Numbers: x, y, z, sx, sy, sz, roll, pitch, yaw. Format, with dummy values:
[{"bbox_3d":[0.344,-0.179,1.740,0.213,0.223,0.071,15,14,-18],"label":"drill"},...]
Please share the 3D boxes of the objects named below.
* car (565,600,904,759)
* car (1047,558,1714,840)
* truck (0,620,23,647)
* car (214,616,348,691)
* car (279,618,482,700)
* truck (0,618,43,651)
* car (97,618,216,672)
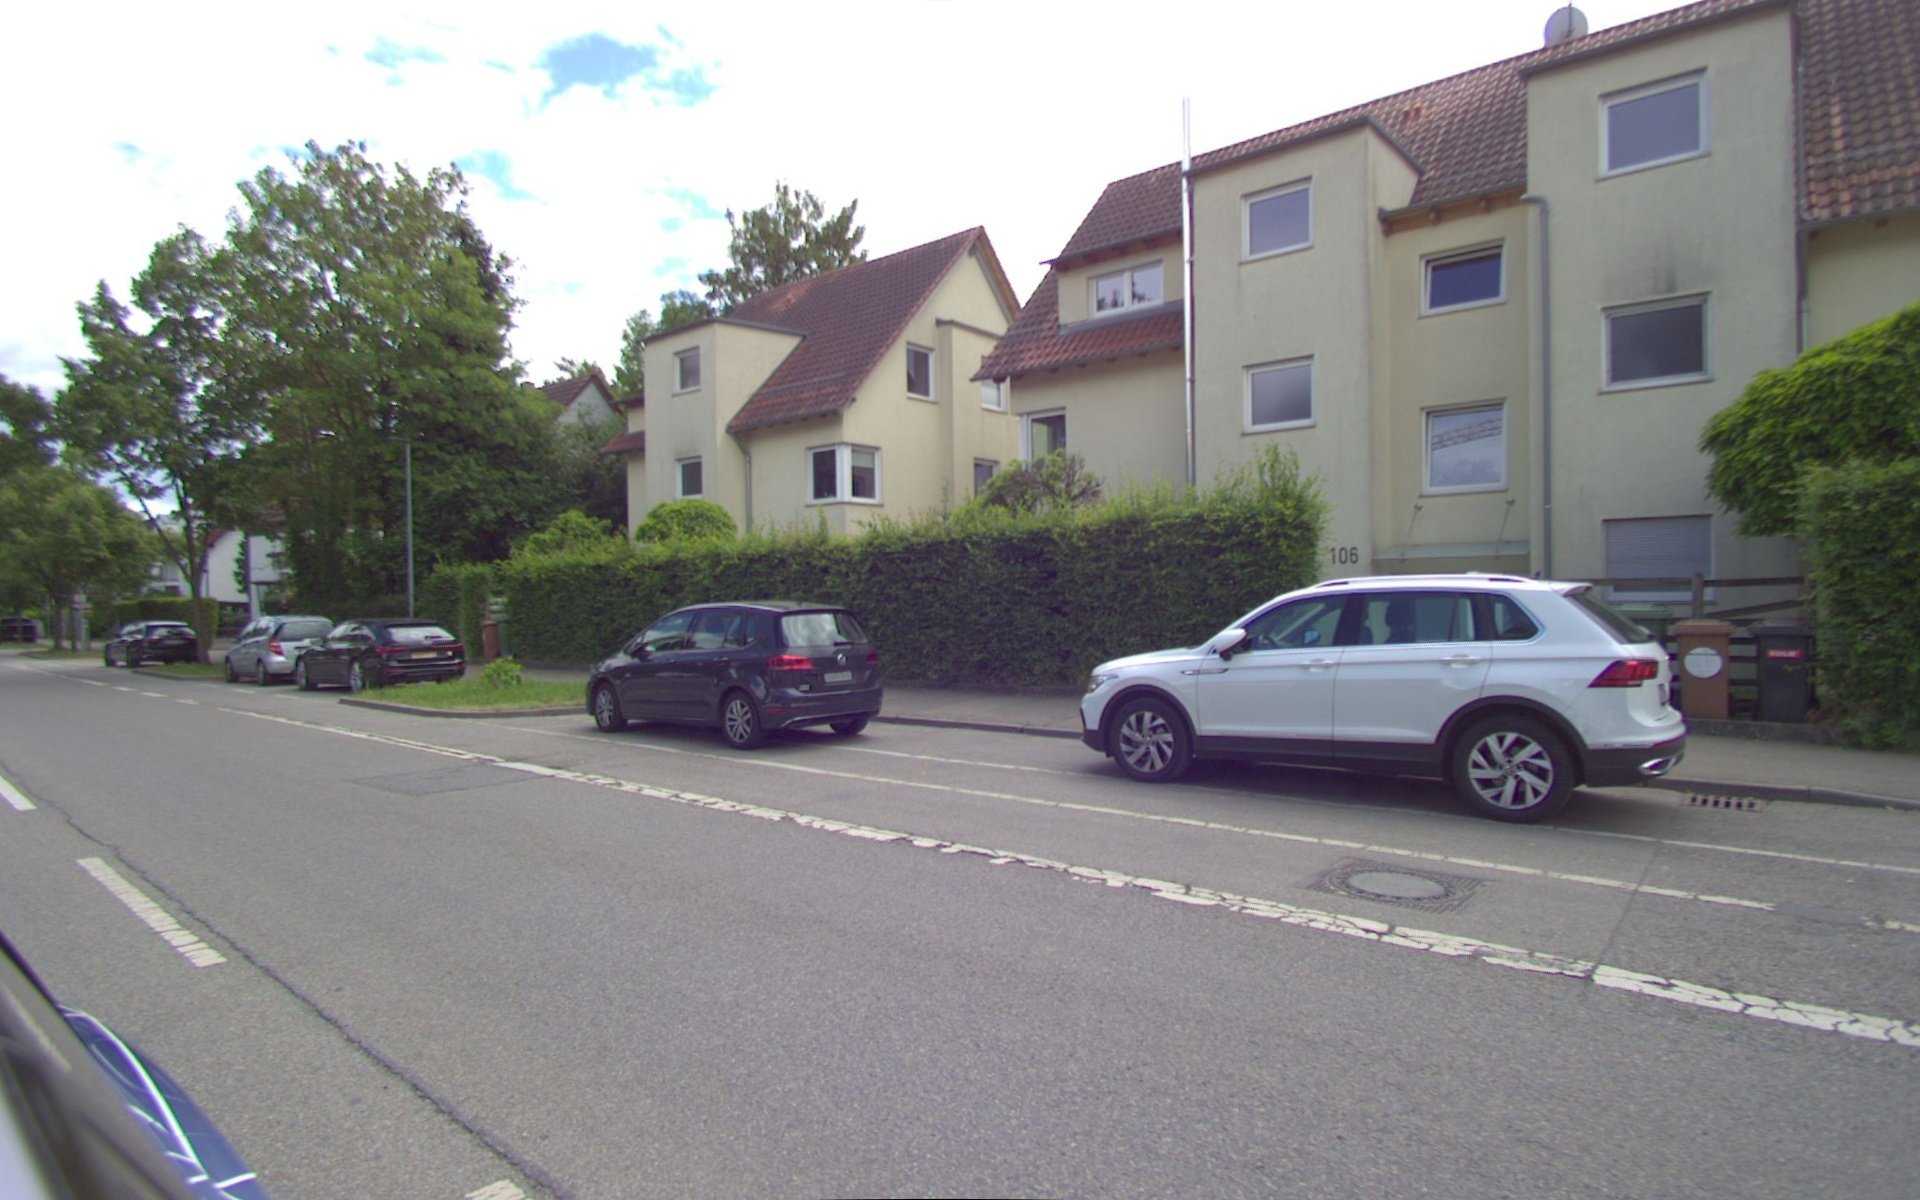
[{"bbox_3d":[-2.798,0.830,12.007,4.268,1.563,1.660,-2,-1,40],"label":"car"},{"bbox_3d":[3.112,0.631,8.057,4.580,1.646,1.803,-2,-1,38],"label":"car"},{"bbox_3d":[-68.769,2.368,72.527,5.665,1.882,1.945,-1,-2,44],"label":"truck"},{"bbox_3d":[-16.324,1.229,24.277,3.908,1.625,1.700,-2,-1,41],"label":"car"},{"bbox_3d":[-12.002,1.146,20.828,4.884,1.496,1.974,-1,-1,38],"label":"car"},{"bbox_3d":[-63.167,2.273,67.544,5.994,2.059,2.397,-2,-1,43],"label":"truck"},{"bbox_3d":[-26.741,1.476,33.631,5.033,1.659,2.074,-2,-2,39],"label":"car"}]
